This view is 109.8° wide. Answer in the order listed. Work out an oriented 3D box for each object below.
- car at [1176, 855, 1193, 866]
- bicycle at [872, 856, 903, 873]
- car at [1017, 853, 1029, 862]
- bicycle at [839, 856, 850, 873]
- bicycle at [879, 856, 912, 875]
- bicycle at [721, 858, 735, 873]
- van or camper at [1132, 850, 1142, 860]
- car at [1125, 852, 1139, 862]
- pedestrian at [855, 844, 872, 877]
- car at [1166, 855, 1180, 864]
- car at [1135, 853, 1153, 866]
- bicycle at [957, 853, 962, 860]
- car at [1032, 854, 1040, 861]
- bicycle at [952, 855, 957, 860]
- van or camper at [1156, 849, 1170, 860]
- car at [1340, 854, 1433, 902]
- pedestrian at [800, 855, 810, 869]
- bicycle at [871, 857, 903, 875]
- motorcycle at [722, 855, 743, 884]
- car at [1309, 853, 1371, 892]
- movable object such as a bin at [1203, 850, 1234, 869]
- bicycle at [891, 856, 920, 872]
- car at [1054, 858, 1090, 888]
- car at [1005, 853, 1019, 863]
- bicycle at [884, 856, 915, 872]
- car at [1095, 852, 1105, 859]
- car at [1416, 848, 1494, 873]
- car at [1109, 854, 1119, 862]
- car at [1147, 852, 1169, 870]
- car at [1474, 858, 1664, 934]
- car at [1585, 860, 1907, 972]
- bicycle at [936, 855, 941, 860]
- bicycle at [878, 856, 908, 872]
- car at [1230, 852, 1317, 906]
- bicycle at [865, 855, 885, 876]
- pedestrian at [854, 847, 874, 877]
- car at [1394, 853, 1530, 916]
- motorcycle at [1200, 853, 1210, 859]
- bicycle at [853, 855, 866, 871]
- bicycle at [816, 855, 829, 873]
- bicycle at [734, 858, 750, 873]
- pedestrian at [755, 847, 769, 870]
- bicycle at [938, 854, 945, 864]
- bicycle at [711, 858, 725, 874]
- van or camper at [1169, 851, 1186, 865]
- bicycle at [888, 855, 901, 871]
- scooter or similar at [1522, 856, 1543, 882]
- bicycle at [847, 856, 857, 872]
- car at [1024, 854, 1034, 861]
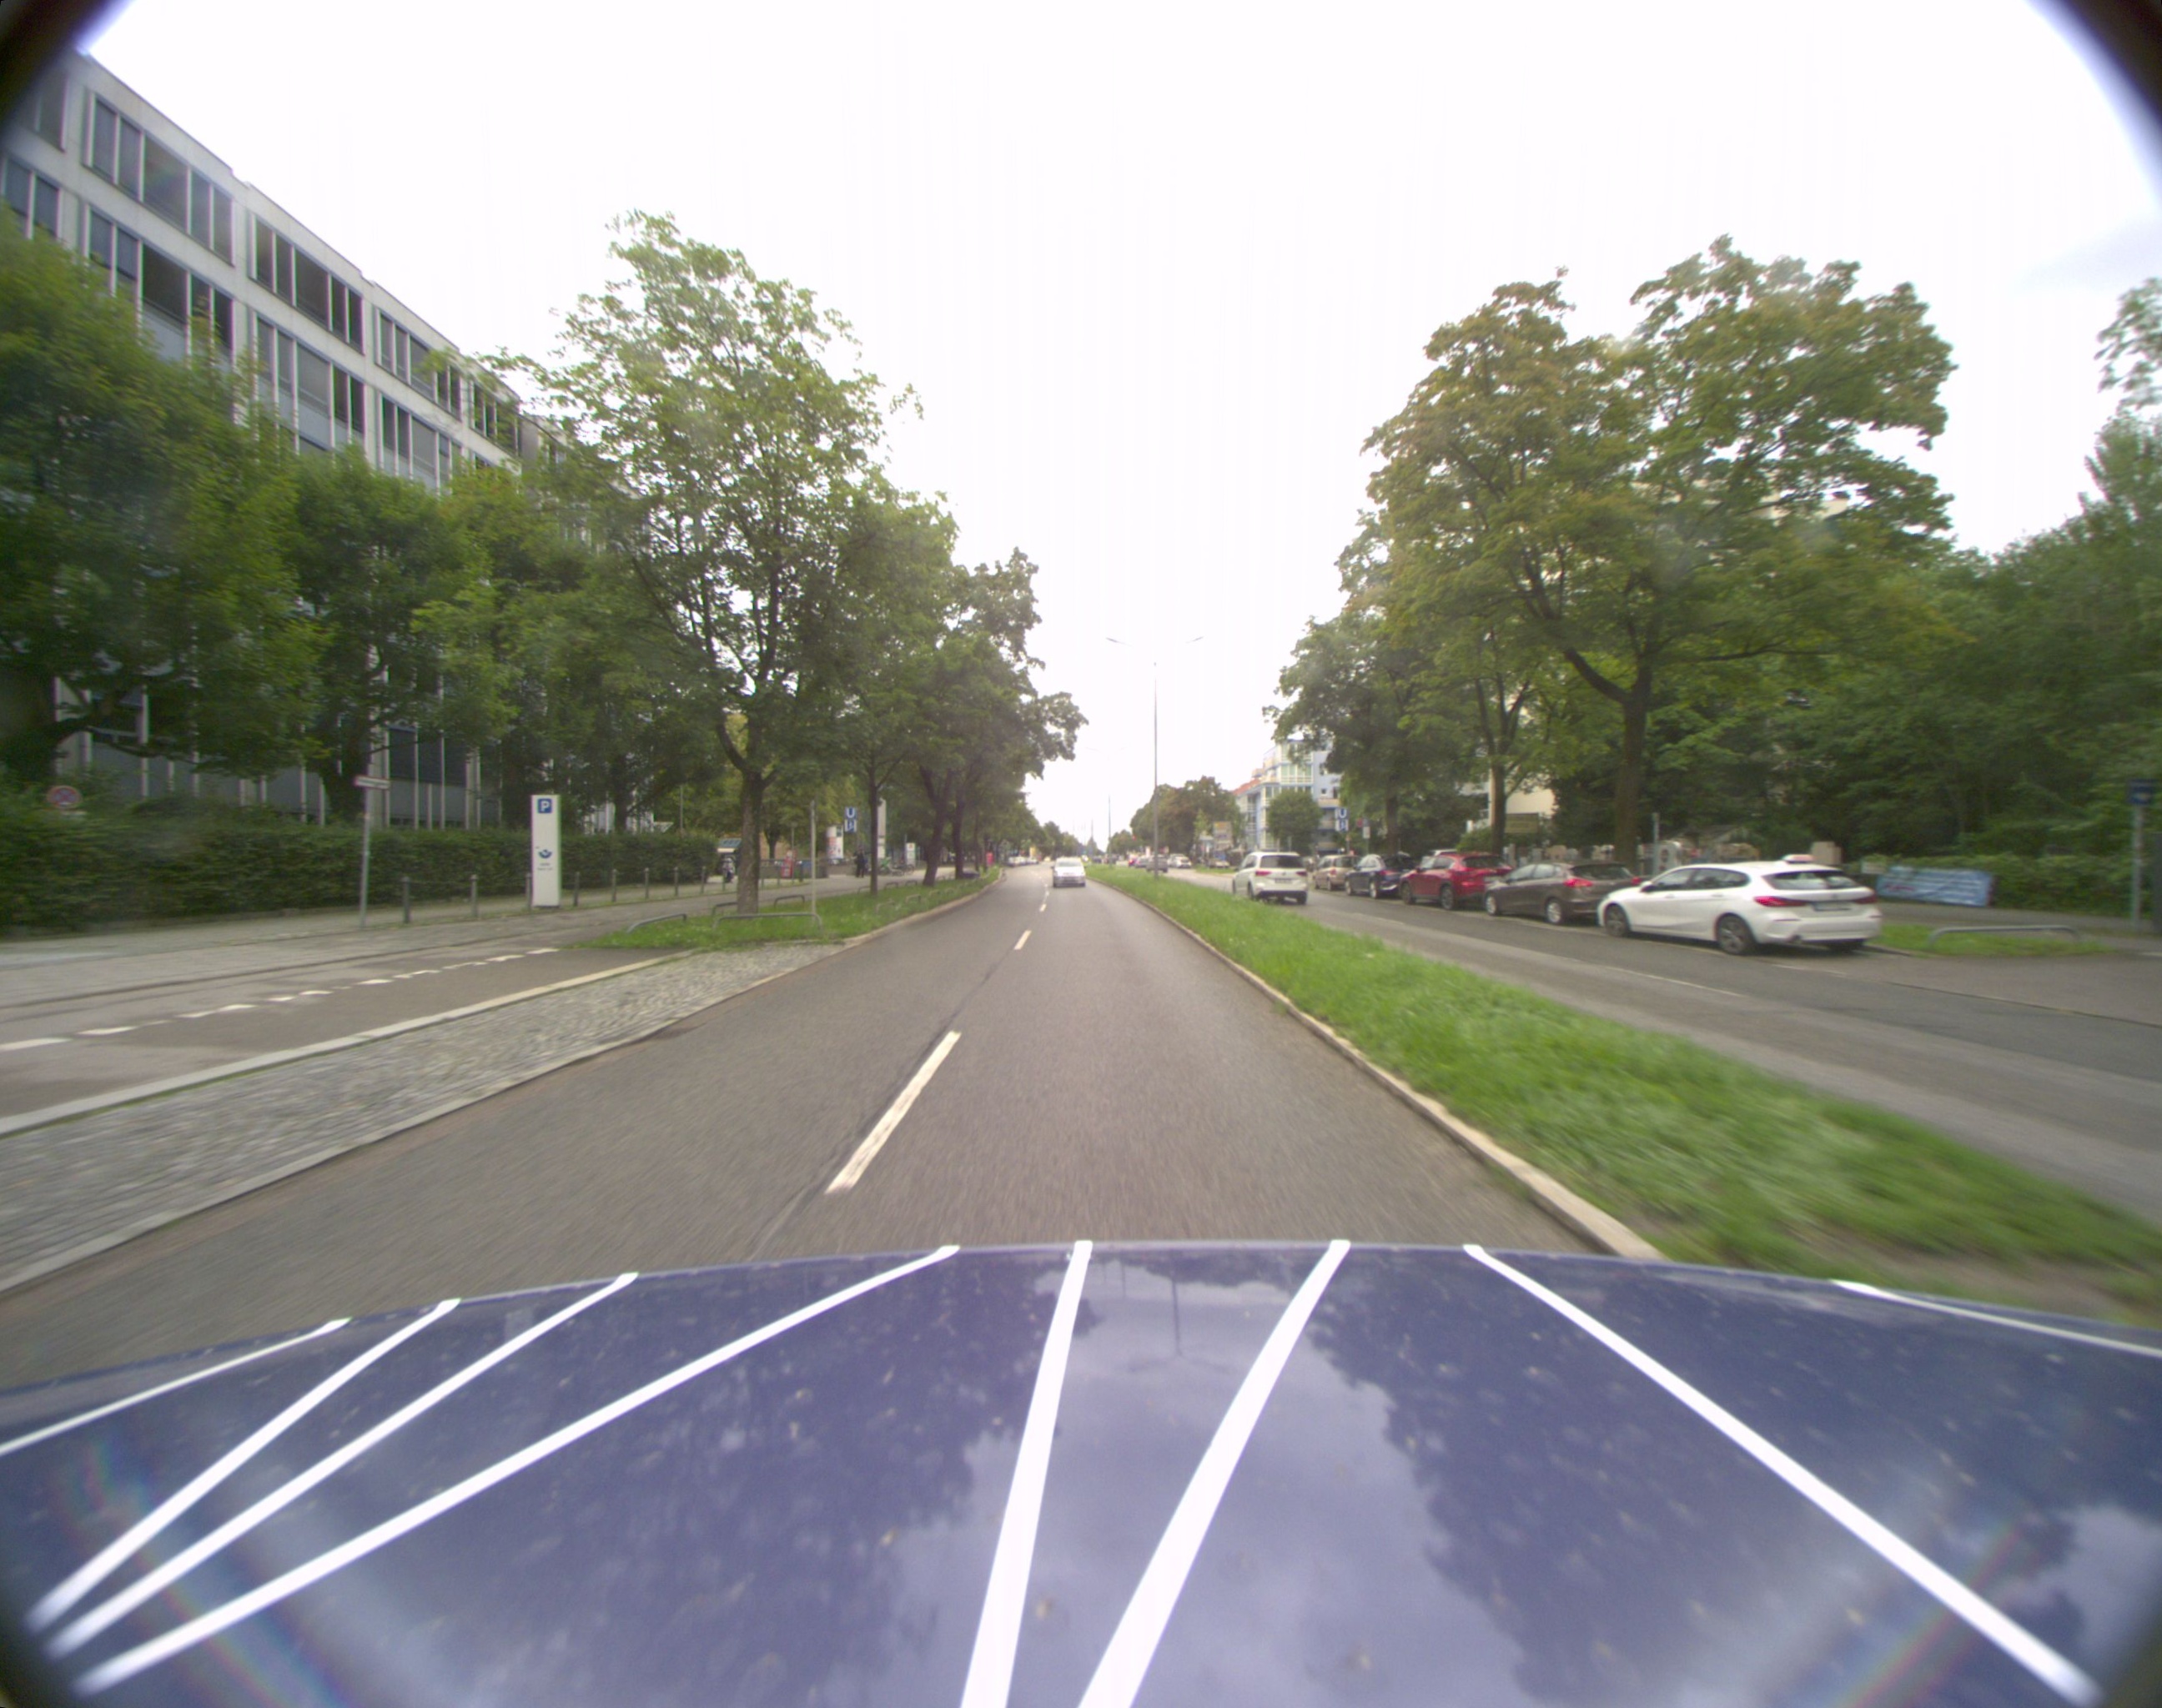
[{"bbox_3d":[13.903,0.870,101.963,1.651,1.480,3.902,0,0,-1],"label":"car"},{"bbox_3d":[-13.055,0.704,51.193,1.959,1.077,0.595,3,-2,-44],"label":"bicycle"},{"bbox_3d":[-10.438,0.567,137.081,1.682,1.522,4.096,0,0,2],"label":"car"},{"bbox_3d":[-17.629,0.766,56.736,0.513,1.182,2.140,0,0,-9],"label":"bicycle"},{"bbox_3d":[-12.084,0.755,49.542,1.958,1.182,0.595,3,-1,-33],"label":"bicycle"},{"bbox_3d":[-29.385,0.925,63.310,0.510,1.253,2.173,0,0,-9],"label":"bicycle"},{"bbox_3d":[12.273,0.194,167.151,2.020,2.004,5.198,0,0,1],"label":"van or camper"},{"bbox_3d":[7.448,0.443,111.048,1.696,1.394,3.967,0,0,0],"label":"car"},{"bbox_3d":[-12.654,0.359,44.170,0.652,1.888,0.750,0,0,12],"label":"pedestrian"},{"bbox_3d":[14.363,0.862,118.441,1.680,1.386,4.334,0,0,0],"label":"car"},{"bbox_3d":[7.587,0.653,91.532,1.920,1.475,4.865,0,0,1],"label":"car"},{"bbox_3d":[-22.096,0.458,138.337,0.512,1.185,2.141,0,1,-1],"label":"bicycle"},{"bbox_3d":[-9.763,0.654,164.877,1.590,1.495,3.735,0,0,2],"label":"car"},{"bbox_3d":[-23.026,0.612,138.184,0.512,0.935,2.141,0,0,-1],"label":"bicycle"},{"bbox_3d":[14.857,0.021,138.062,2.025,1.930,4.704,0,0,2],"label":"van or camper"},{"bbox_3d":[11.420,0.840,28.767,1.743,1.634,4.685,-2,0,2],"label":"car"},{"bbox_3d":[-31.885,0.919,87.866,0.571,1.636,0.881,1,1,37],"label":"pedestrian"},{"bbox_3d":[-12.814,0.787,50.164,1.959,1.101,0.579,5,-3,-44],"label":"bicycle"},{"bbox_3d":[-16.793,0.728,36.667,0.550,1.311,2.071,0,0,-14],"label":"motorcycle"},{"bbox_3d":[11.691,0.788,34.576,1.651,1.605,3.819,-2,0,3],"label":"car"},{"bbox_3d":[14.189,0.520,78.680,2.199,1.941,3.998,0,0,-5],"label":"movable object such as a bin"},{"bbox_3d":[-12.754,0.744,55.318,2.037,1.093,0.578,2,1,-44],"label":"bicycle"},{"bbox_3d":[-0.417,0.936,39.287,1.679,1.433,3.735,0,0,2],"label":"car"},{"bbox_3d":[-10.667,0.574,117.296,1.866,1.581,4.602,0,0,-2],"label":"car"},{"bbox_3d":[-12.808,0.727,53.691,2.045,1.083,0.603,1,2,-44],"label":"bicycle"},{"bbox_3d":[3.466,0.272,139.450,1.787,1.397,4.101,0,0,-1],"label":"car"},{"bbox_3d":[23.203,0.398,47.233,3.996,1.579,1.749,0,0,3],"label":"car"},{"bbox_3d":[6.227,0.699,143.962,1.962,1.471,4.259,0,0,2],"label":"car"},{"bbox_3d":[7.190,0.639,71.226,1.770,1.615,4.376,0,0,1],"label":"car"},{"bbox_3d":[11.249,0.889,17.943,1.743,1.474,4.334,-3,0,2],"label":"car"},{"bbox_3d":[11.082,0.916,13.206,1.743,1.521,4.475,-2,0,2],"label":"car"},{"bbox_3d":[-25.513,0.598,136.327,0.572,0.935,2.064,0,1,-1],"label":"bicycle"},{"bbox_3d":[-12.964,0.706,52.459,1.959,1.059,0.578,3,0,-44],"label":"bicycle"},{"bbox_3d":[6.288,0.759,25.324,1.838,1.633,4.351,0,0,1],"label":"car"},{"bbox_3d":[-12.653,0.720,46.638,0.531,1.219,1.863,2,-1,5],"label":"bicycle"},{"bbox_3d":[-12.327,0.443,43.179,0.784,1.704,0.751,0,0,15],"label":"pedestrian"},{"bbox_3d":[11.362,0.833,23.073,1.743,1.642,4.606,-3,0,0],"label":"car"},{"bbox_3d":[23.171,0.417,141.655,1.814,1.164,0.464,0,1,-3],"label":"motorcycle"},{"bbox_3d":[-16.359,0.659,56.186,0.447,1.182,1.954,0,0,-2],"label":"bicycle"},{"bbox_3d":[-18.961,0.744,55.853,0.510,1.287,2.476,0,0,-9],"label":"bicycle"},{"bbox_3d":[-28.134,0.923,63.139,0.608,1.253,2.054,0,0,-7],"label":"bicycle"},{"bbox_3d":[-24.613,0.341,58.655,0.687,1.762,0.770,0,0,11],"label":"pedestrian"},{"bbox_3d":[-17.367,0.630,94.655,0.622,1.243,1.919,0,0,-6],"label":"bicycle"},{"bbox_3d":[-30.204,0.989,63.243,0.510,1.253,2.173,0,0,-9],"label":"bicycle"},{"bbox_3d":[14.197,0.589,112.166,1.809,1.956,5.211,0,0,1],"label":"van or camper"},{"bbox_3d":[-13.789,0.639,56.183,0.489,1.182,1.954,0,0,-2],"label":"bicycle"},{"bbox_3d":[19.787,0.628,33.299,0.436,1.120,1.291,0,0,14],"label":"scooter or similar"},{"bbox_3d":[-17.059,0.732,56.564,0.447,1.182,2.140,0,0,-9],"label":"bicycle"},{"bbox_3d":[-10.122,0.746,147.786,1.590,1.310,3.735,0,0,2],"label":"car"}]
